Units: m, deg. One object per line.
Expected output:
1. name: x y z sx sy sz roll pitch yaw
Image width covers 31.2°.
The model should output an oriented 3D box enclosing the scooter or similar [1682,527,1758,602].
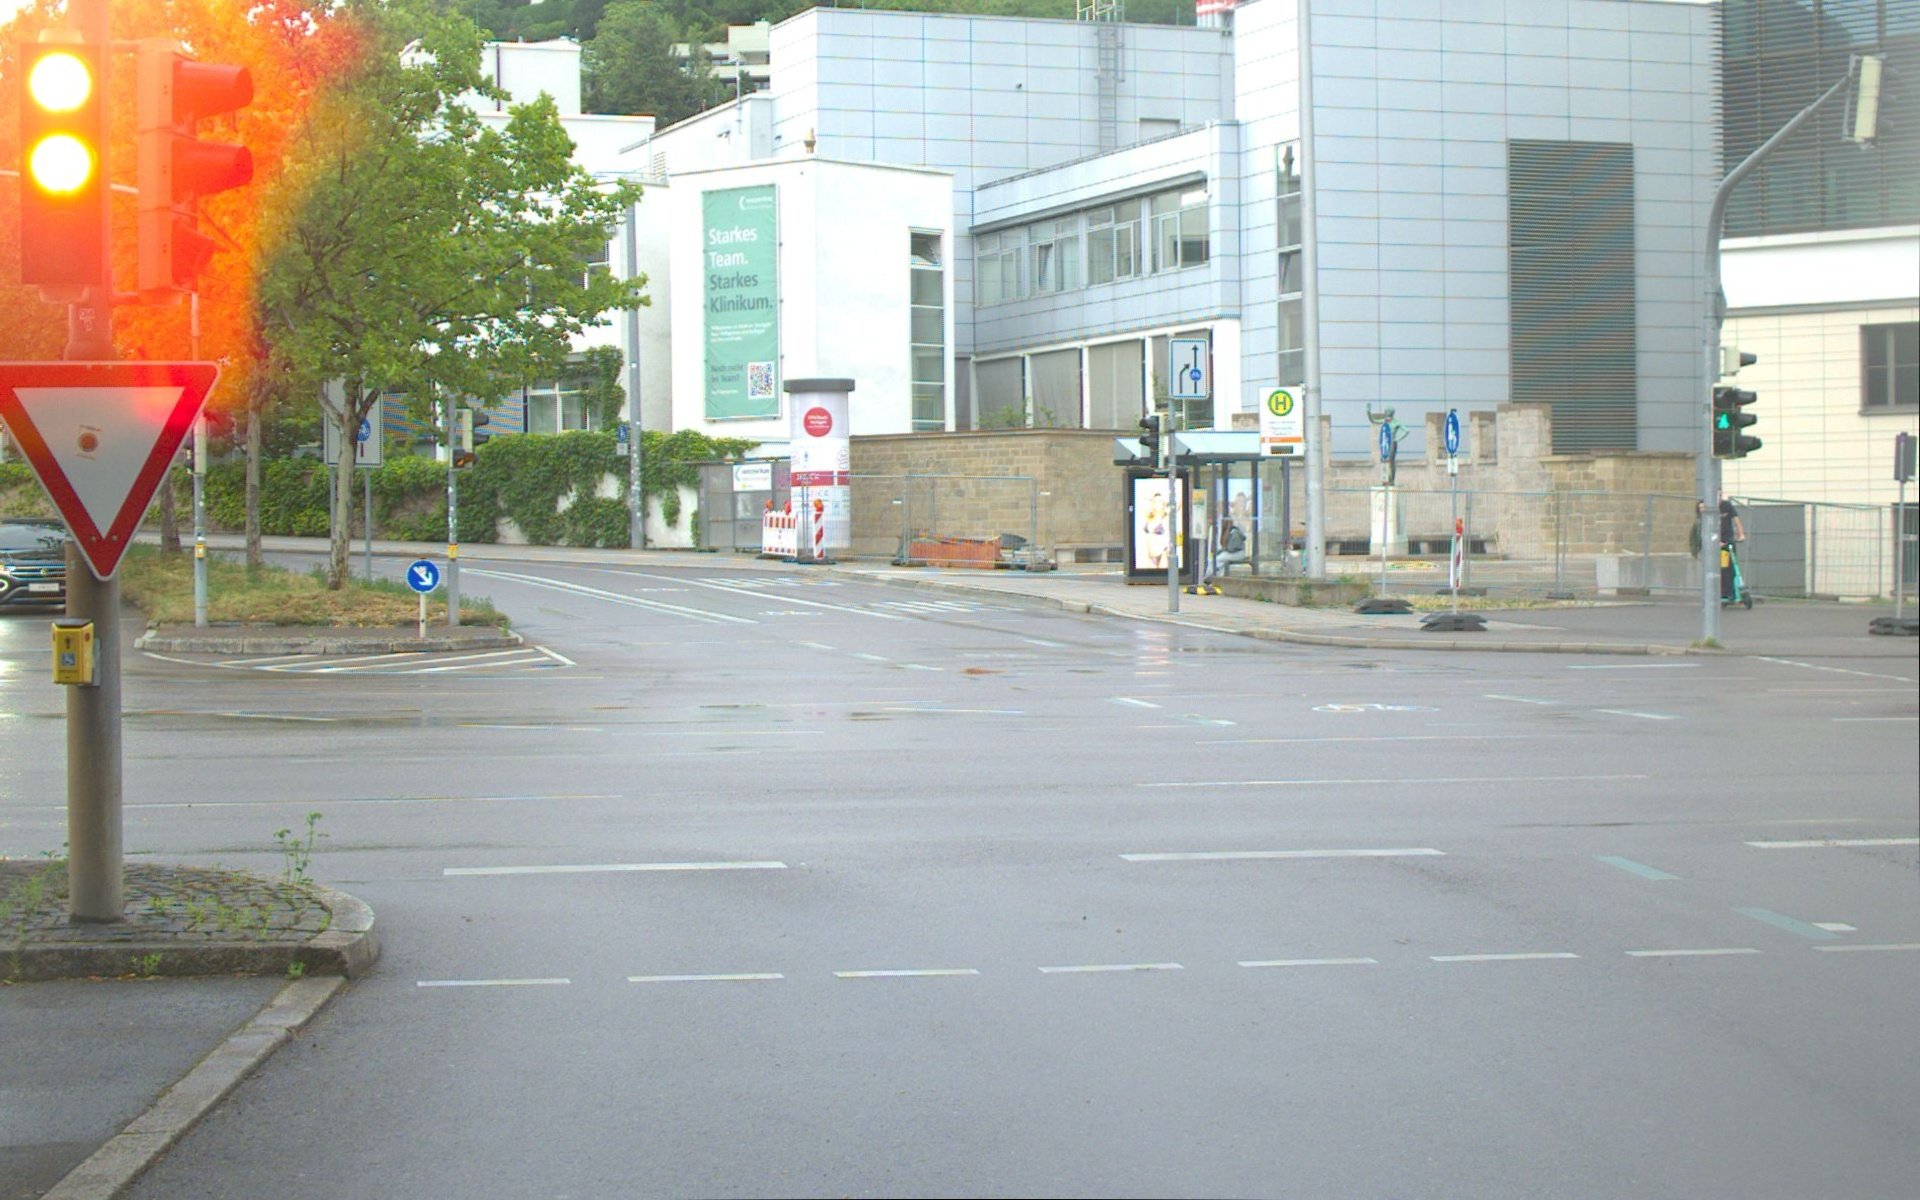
1. scooter or similar: 12.843 -0.597 58.136 0.591 1.234 1.314 1 0 -22

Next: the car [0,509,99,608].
1. car: -15.669 -0.732 57.723 1.788 1.579 4.001 -1 2 -22

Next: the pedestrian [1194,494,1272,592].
1. pedestrian: 4.906 -1.012 61.781 1.257 1.713 1.016 1 0 -2

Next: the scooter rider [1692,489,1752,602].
1. scooter rider: 12.872 -0.912 58.093 0.723 1.877 0.632 1 0 -20
